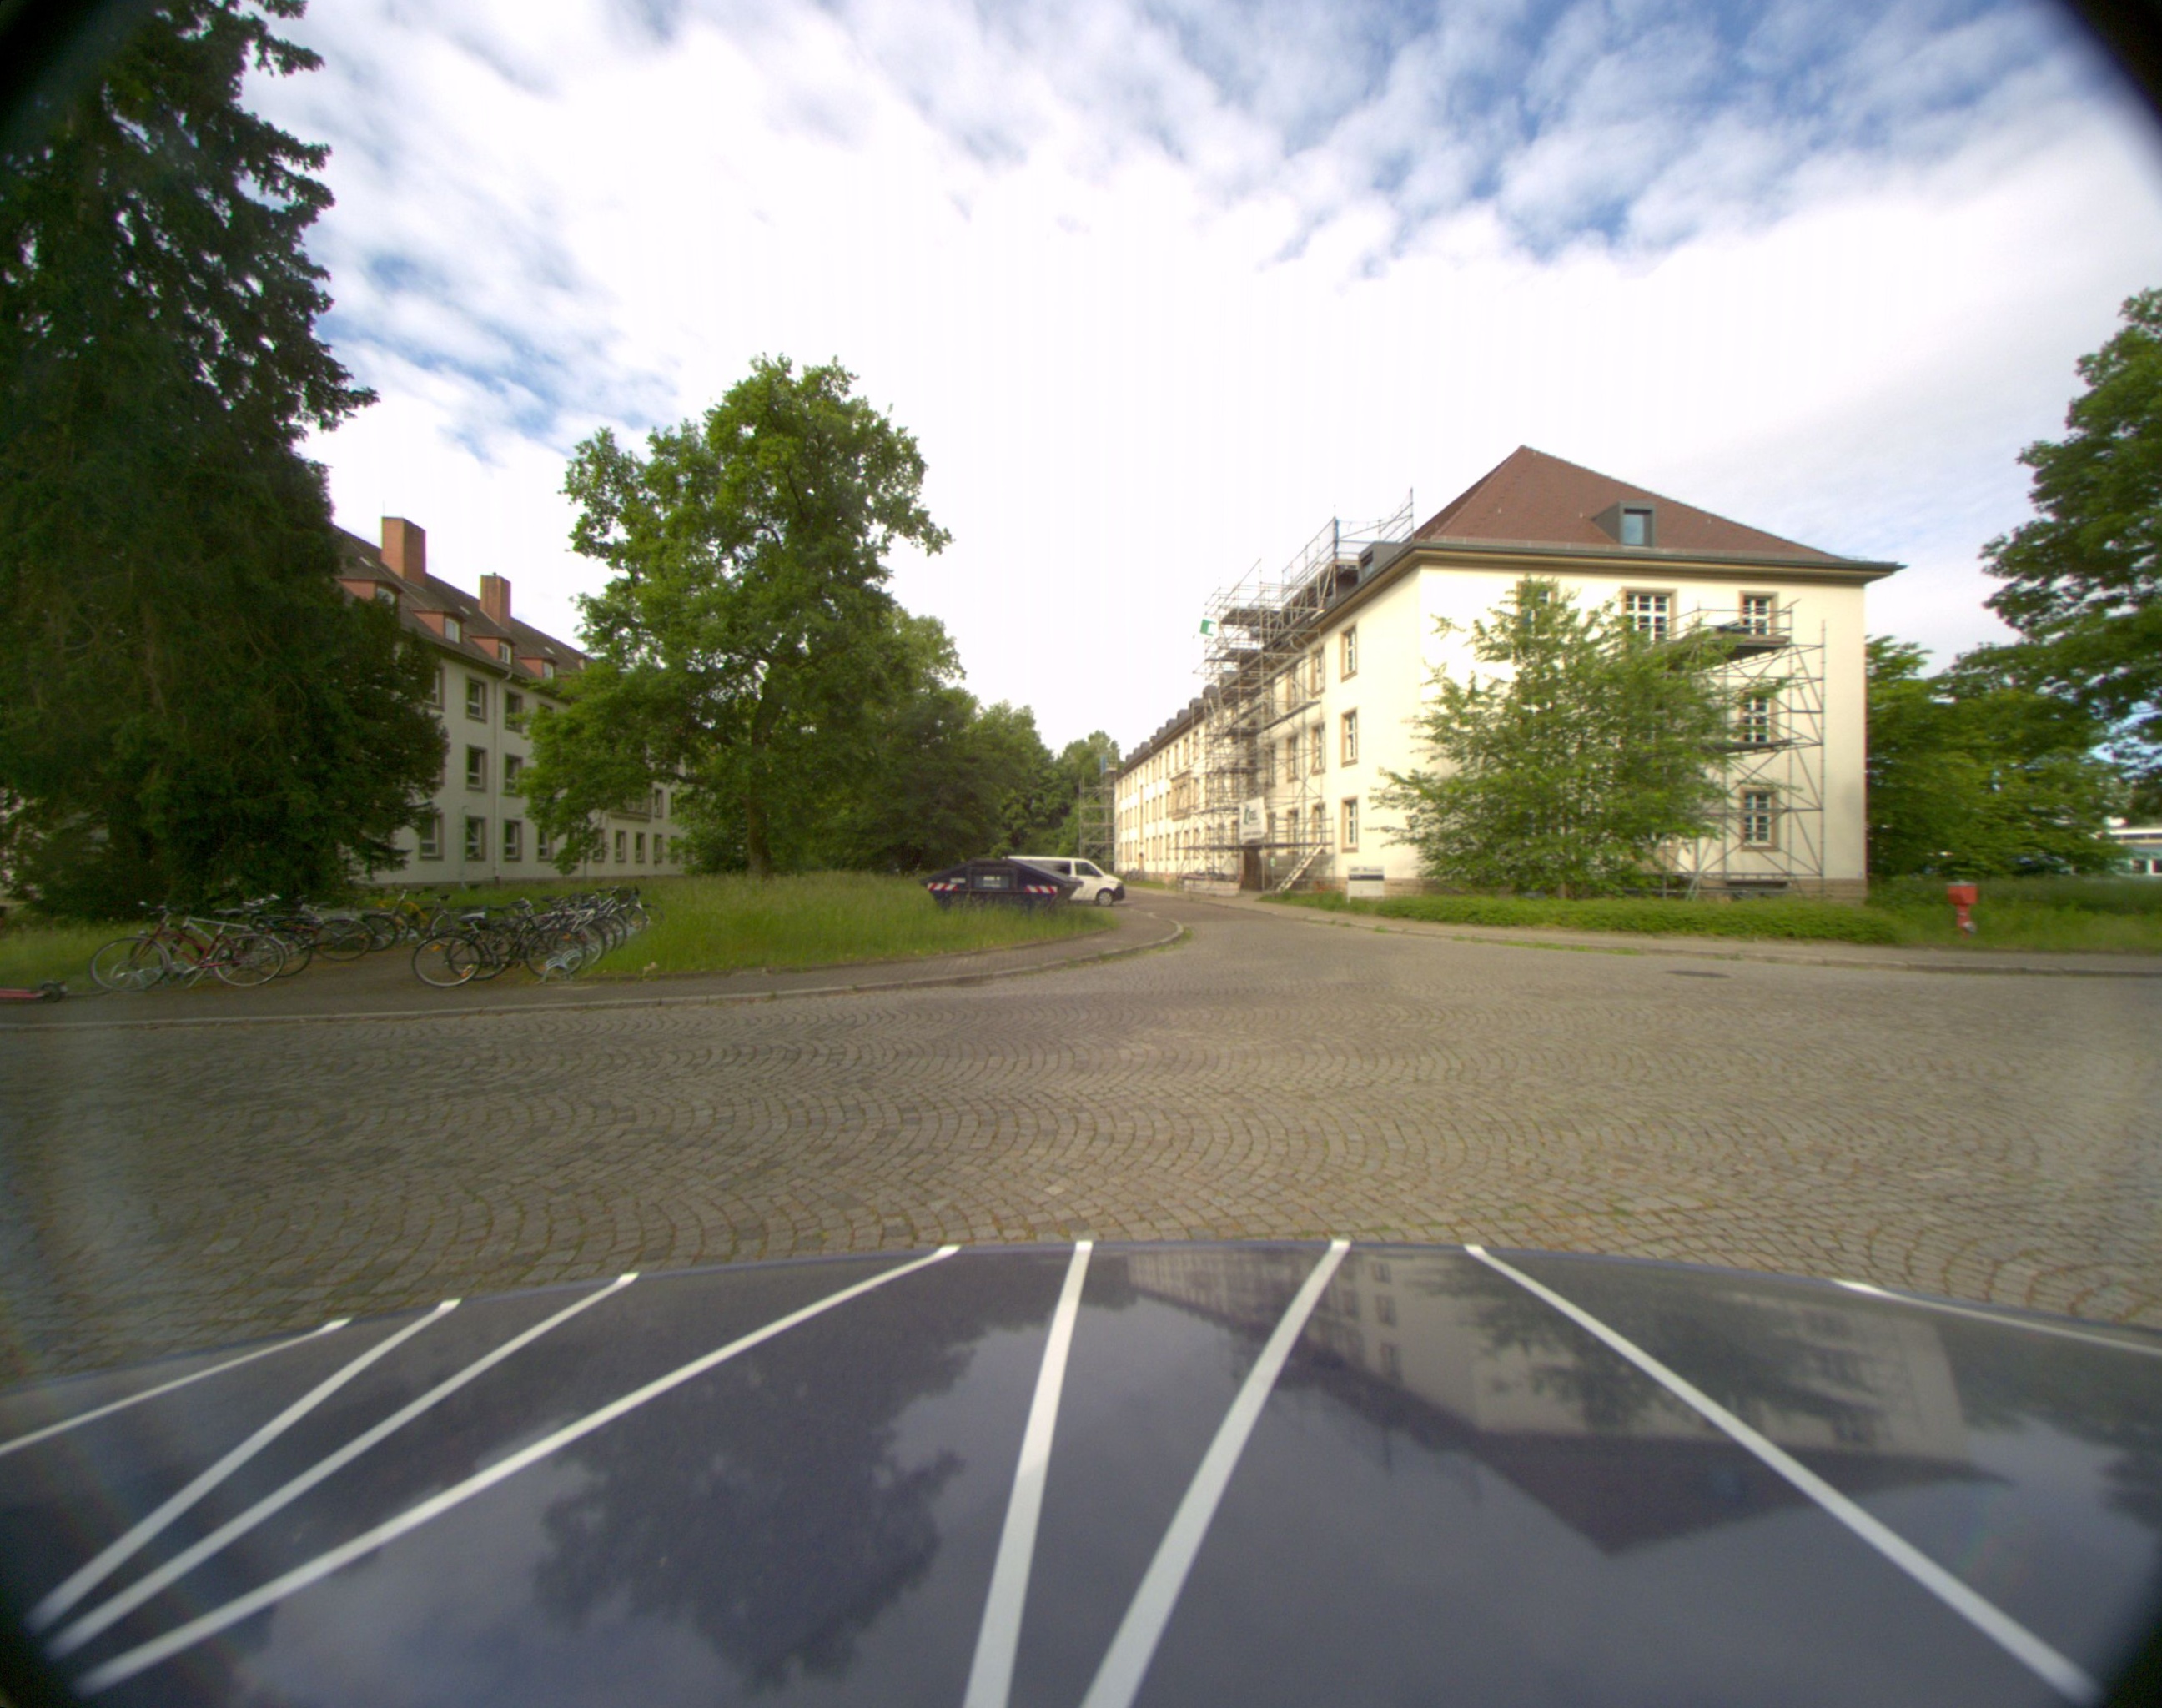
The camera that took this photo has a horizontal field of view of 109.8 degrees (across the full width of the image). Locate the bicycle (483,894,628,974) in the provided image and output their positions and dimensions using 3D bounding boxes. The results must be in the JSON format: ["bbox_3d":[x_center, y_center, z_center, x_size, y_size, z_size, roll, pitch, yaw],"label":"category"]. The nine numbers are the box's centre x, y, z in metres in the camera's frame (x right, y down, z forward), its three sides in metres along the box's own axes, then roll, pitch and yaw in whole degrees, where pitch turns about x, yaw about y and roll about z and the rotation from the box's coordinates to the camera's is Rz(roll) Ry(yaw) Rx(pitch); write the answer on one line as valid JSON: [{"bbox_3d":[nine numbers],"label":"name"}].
[{"bbox_3d":[-8.433,1.263,12.287,1.801,1.097,0.701,-1,2,-25],"label":"bicycle"}]

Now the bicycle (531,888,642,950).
[{"bbox_3d":[-9.887,1.291,15.257,1.779,1.099,0.540,-1,2,-25],"label":"bicycle"}]

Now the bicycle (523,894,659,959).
[{"bbox_3d":[-8.823,1.283,13.776,1.962,0.999,0.685,-1,2,-25],"label":"bicycle"}]

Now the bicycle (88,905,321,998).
[{"bbox_3d":[-11.922,1.297,10.432,1.994,1.108,0.642,0,2,-25],"label":"bicycle"}]

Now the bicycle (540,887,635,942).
[{"bbox_3d":[-10.476,1.272,16.185,1.623,1.053,0.525,-1,2,-25],"label":"bicycle"}]

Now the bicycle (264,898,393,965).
[{"bbox_3d":[-13.102,1.330,13.287,1.519,1.030,0.543,0,2,-36],"label":"bicycle"}]

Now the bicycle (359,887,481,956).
[{"bbox_3d":[-12.452,1.245,14.375,1.647,1.179,0.572,0,2,-31],"label":"bicycle"}]

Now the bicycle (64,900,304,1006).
[{"bbox_3d":[-11.536,1.238,9.863,1.904,1.216,0.642,1,2,-25],"label":"bicycle"}]

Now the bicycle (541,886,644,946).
[{"bbox_3d":[-10.096,1.271,15.761,1.704,1.110,0.540,-1,2,-25],"label":"bicycle"}]

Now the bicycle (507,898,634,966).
[{"bbox_3d":[-8.647,1.305,12.953,1.699,0.996,0.631,-1,2,-25],"label":"bicycle"}]

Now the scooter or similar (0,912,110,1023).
[{"bbox_3d":[-12.551,1.307,8.839,1.552,1.188,0.682,-1,1,-3],"label":"scooter or similar"}]

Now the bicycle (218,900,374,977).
[{"bbox_3d":[-12.364,1.307,12.036,1.633,1.067,0.538,0,2,-36],"label":"bicycle"}]

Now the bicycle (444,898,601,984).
[{"bbox_3d":[-8.384,1.281,11.501,1.776,1.097,0.701,-1,2,-25],"label":"bicycle"}]

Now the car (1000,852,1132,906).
[{"bbox_3d":[-0.676,1.028,31.372,5.217,2.047,2.187,1,-1,-7],"label":"car"}]

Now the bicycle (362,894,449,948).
[{"bbox_3d":[-13.890,1.361,15.649,1.265,1.022,0.433,-1,-2,-25],"label":"bicycle"}]

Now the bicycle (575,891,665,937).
[{"bbox_3d":[-10.221,1.317,16.906,1.623,0.906,0.525,-1,2,-25],"label":"bicycle"}]
